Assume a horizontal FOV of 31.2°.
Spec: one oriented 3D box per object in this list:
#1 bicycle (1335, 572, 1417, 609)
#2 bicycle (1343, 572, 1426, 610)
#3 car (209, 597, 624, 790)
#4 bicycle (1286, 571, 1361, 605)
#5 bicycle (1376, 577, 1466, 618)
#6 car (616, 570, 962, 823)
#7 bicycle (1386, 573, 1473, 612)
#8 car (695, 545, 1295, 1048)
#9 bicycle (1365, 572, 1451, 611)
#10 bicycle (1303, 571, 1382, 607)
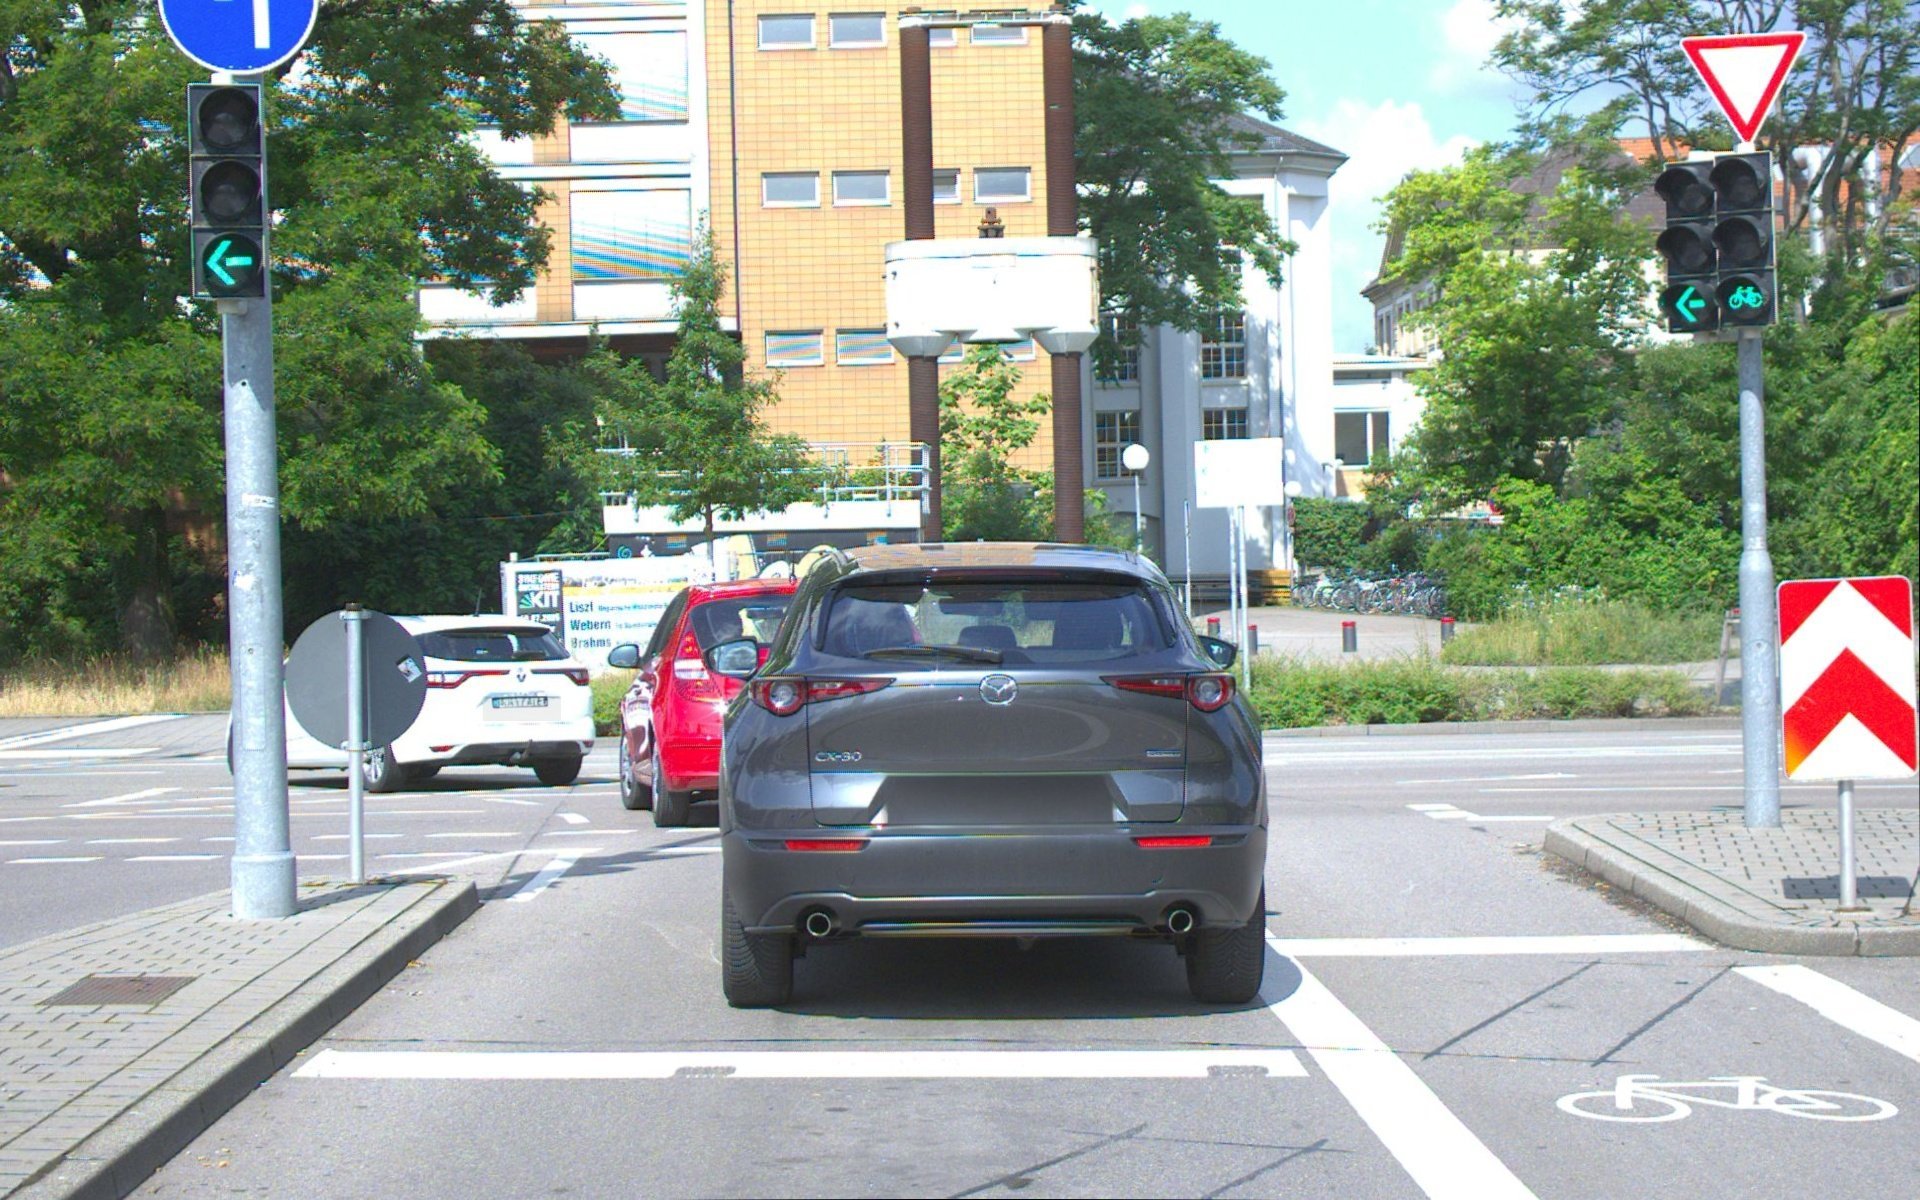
[{"bbox_3d":[11.132,-0.258,91.996,2.055,0.933,0.804,-2,0,-2],"label":"bicycle"},{"bbox_3d":[11.228,-0.245,91.005,2.055,0.933,0.804,-2,0,-2],"label":"bicycle"},{"bbox_3d":[-4.711,0.781,29.298,1.848,1.467,4.334,-2,0,-33],"label":"car"},{"bbox_3d":[10.639,-0.355,100.589,2.055,0.933,0.804,-2,0,-2],"label":"bicycle"},{"bbox_3d":[11.197,-0.072,83.543,2.055,0.933,0.804,-2,0,-2],"label":"bicycle"},{"bbox_3d":[-1.171,0.552,21.583,1.816,1.434,4.068,0,0,-8],"label":"car"},{"bbox_3d":[11.769,-0.189,86.202,2.055,0.933,0.804,-2,0,-2],"label":"bicycle"},{"bbox_3d":[0.054,0.573,12.602,1.806,1.503,4.205,1,1,-1],"label":"car"},{"bbox_3d":[11.406,-0.207,87.532,2.055,0.933,0.804,-2,0,-2],"label":"bicycle"},{"bbox_3d":[10.647,-0.302,95.729,2.055,0.933,0.804,-2,0,-2],"label":"bicycle"}]
